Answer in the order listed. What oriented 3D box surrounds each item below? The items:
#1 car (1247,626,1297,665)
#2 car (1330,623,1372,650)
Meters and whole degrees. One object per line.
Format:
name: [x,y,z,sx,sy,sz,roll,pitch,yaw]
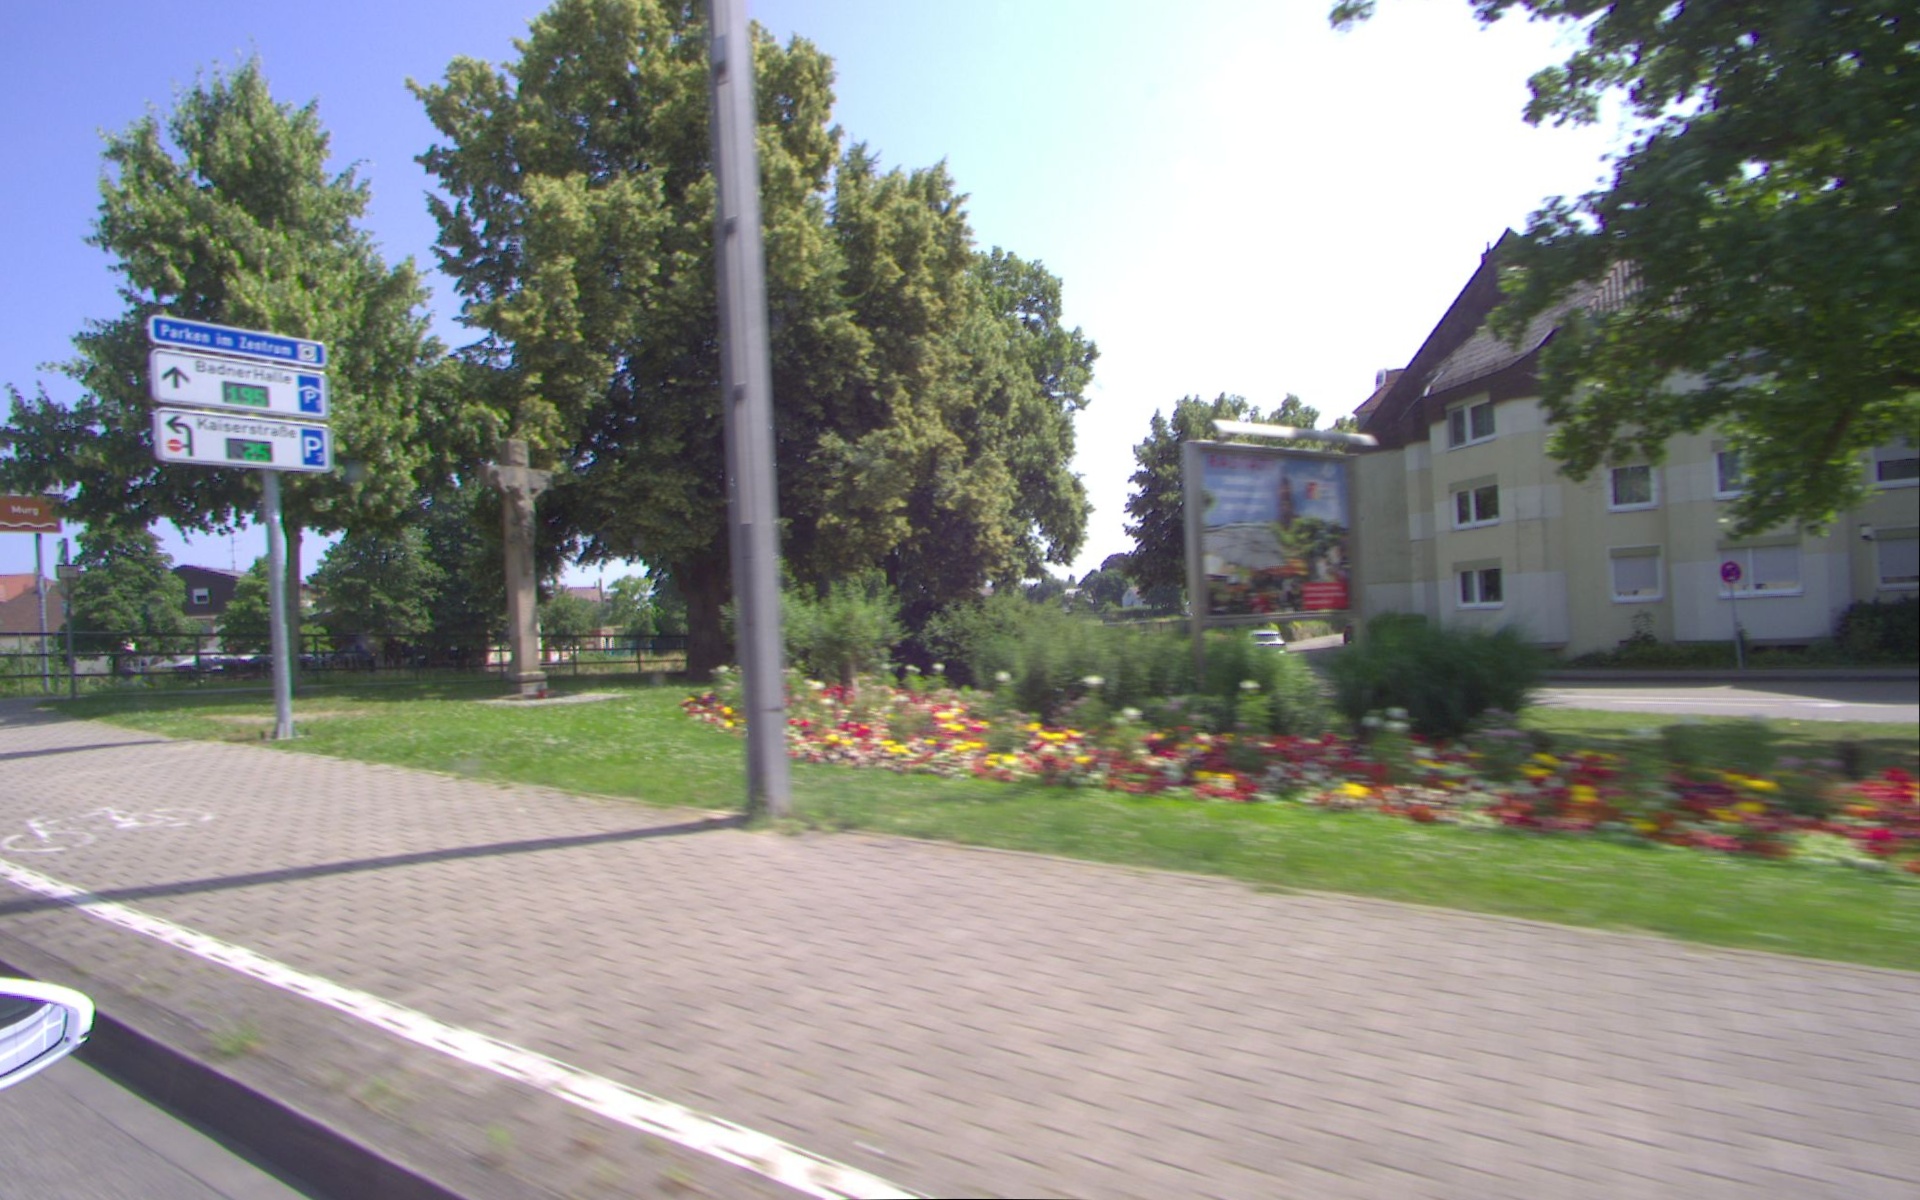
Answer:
car: [13.406,1.951,43.027,1.865,1.518,4.524,-3,-3,17]
car: [23.633,2.208,60.467,1.801,1.571,3.984,-2,-3,29]
